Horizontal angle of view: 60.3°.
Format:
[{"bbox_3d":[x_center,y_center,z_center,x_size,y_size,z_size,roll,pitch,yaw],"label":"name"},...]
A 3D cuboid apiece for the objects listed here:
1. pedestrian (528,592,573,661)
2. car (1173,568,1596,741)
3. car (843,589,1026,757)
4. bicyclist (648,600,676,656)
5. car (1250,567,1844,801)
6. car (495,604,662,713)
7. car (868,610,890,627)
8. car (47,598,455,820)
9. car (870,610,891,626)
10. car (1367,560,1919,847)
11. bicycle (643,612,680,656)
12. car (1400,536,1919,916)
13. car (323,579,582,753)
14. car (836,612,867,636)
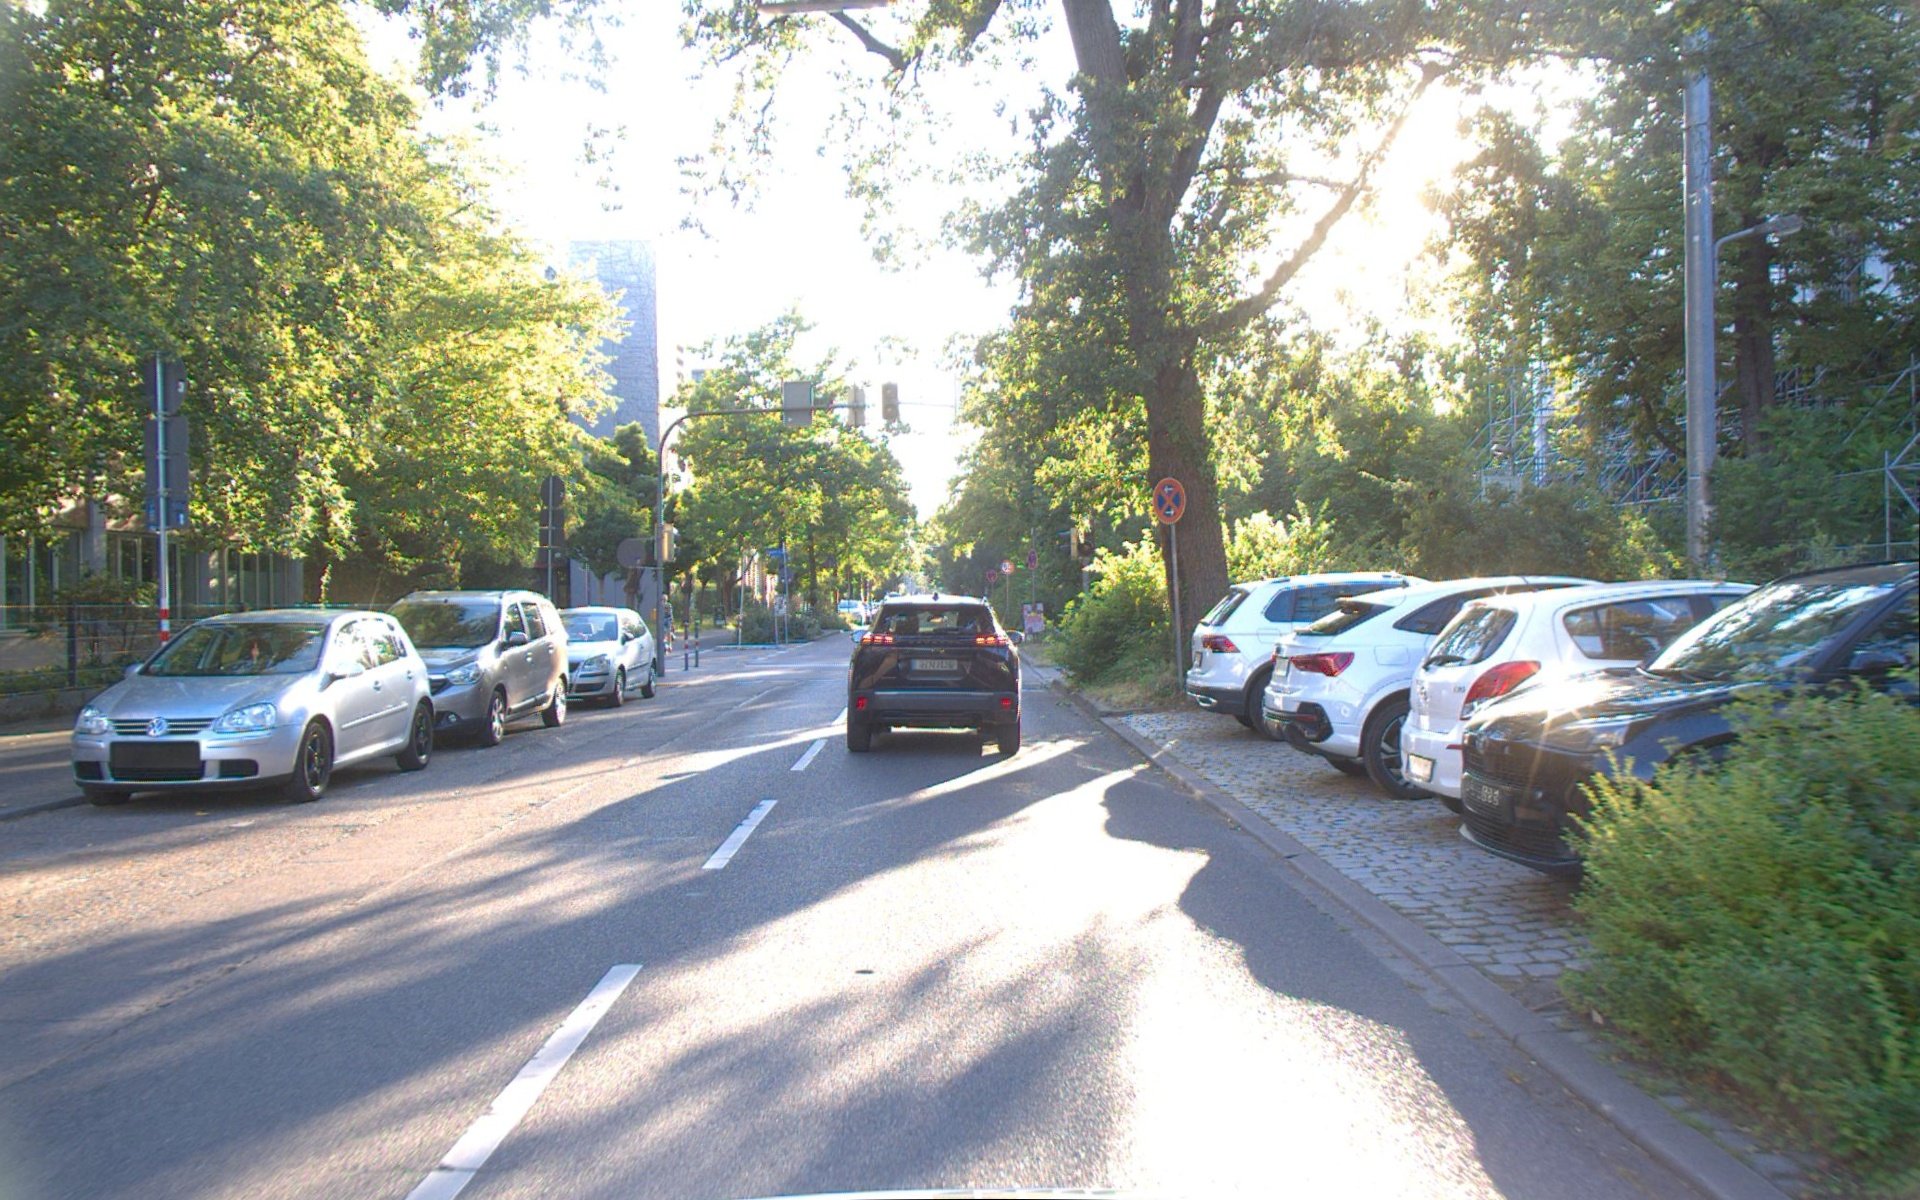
[{"bbox_3d":[-11.291,0.728,45.574,0.947,1.855,0.811,-1,0,-37],"label":"pedestrian"},{"bbox_3d":[4.393,0.562,17.641,4.083,1.740,1.868,0,0,3],"label":"car"},{"bbox_3d":[-0.263,0.695,17.452,1.732,1.596,3.380,0,0,-1],"label":"car"},{"bbox_3d":[-8.713,0.807,48.375,0.661,1.631,0.706,0,-1,1],"label":"bicyclist"},{"bbox_3d":[4.441,0.622,12.937,4.038,1.696,1.722,0,-1,-1],"label":"car"},{"bbox_3d":[-5.817,0.849,25.664,1.645,1.482,3.881,-2,0,0],"label":"car"},{"bbox_3d":[-6.997,1.566,142.673,1.775,1.378,3.975,-1,0,-4],"label":"car"},{"bbox_3d":[-5.694,0.777,13.873,1.637,1.520,4.061,-2,0,0],"label":"car"},{"bbox_3d":[-7.383,1.662,152.724,1.775,1.378,3.996,-1,0,-4],"label":"car"},{"bbox_3d":[4.587,0.584,10.498,3.516,1.594,1.818,-1,0,-2],"label":"car"},{"bbox_3d":[-8.719,0.983,48.378,0.672,1.271,2.192,0,0,1],"label":"bicycle"},{"bbox_3d":[4.256,0.525,8.158,3.670,1.622,1.696,-1,0,-3],"label":"car"},{"bbox_3d":[-5.760,0.678,19.330,1.645,1.738,4.340,-2,0,0],"label":"car"},{"bbox_3d":[-6.754,1.480,102.592,1.775,1.378,3.995,-1,0,-6],"label":"car"}]
